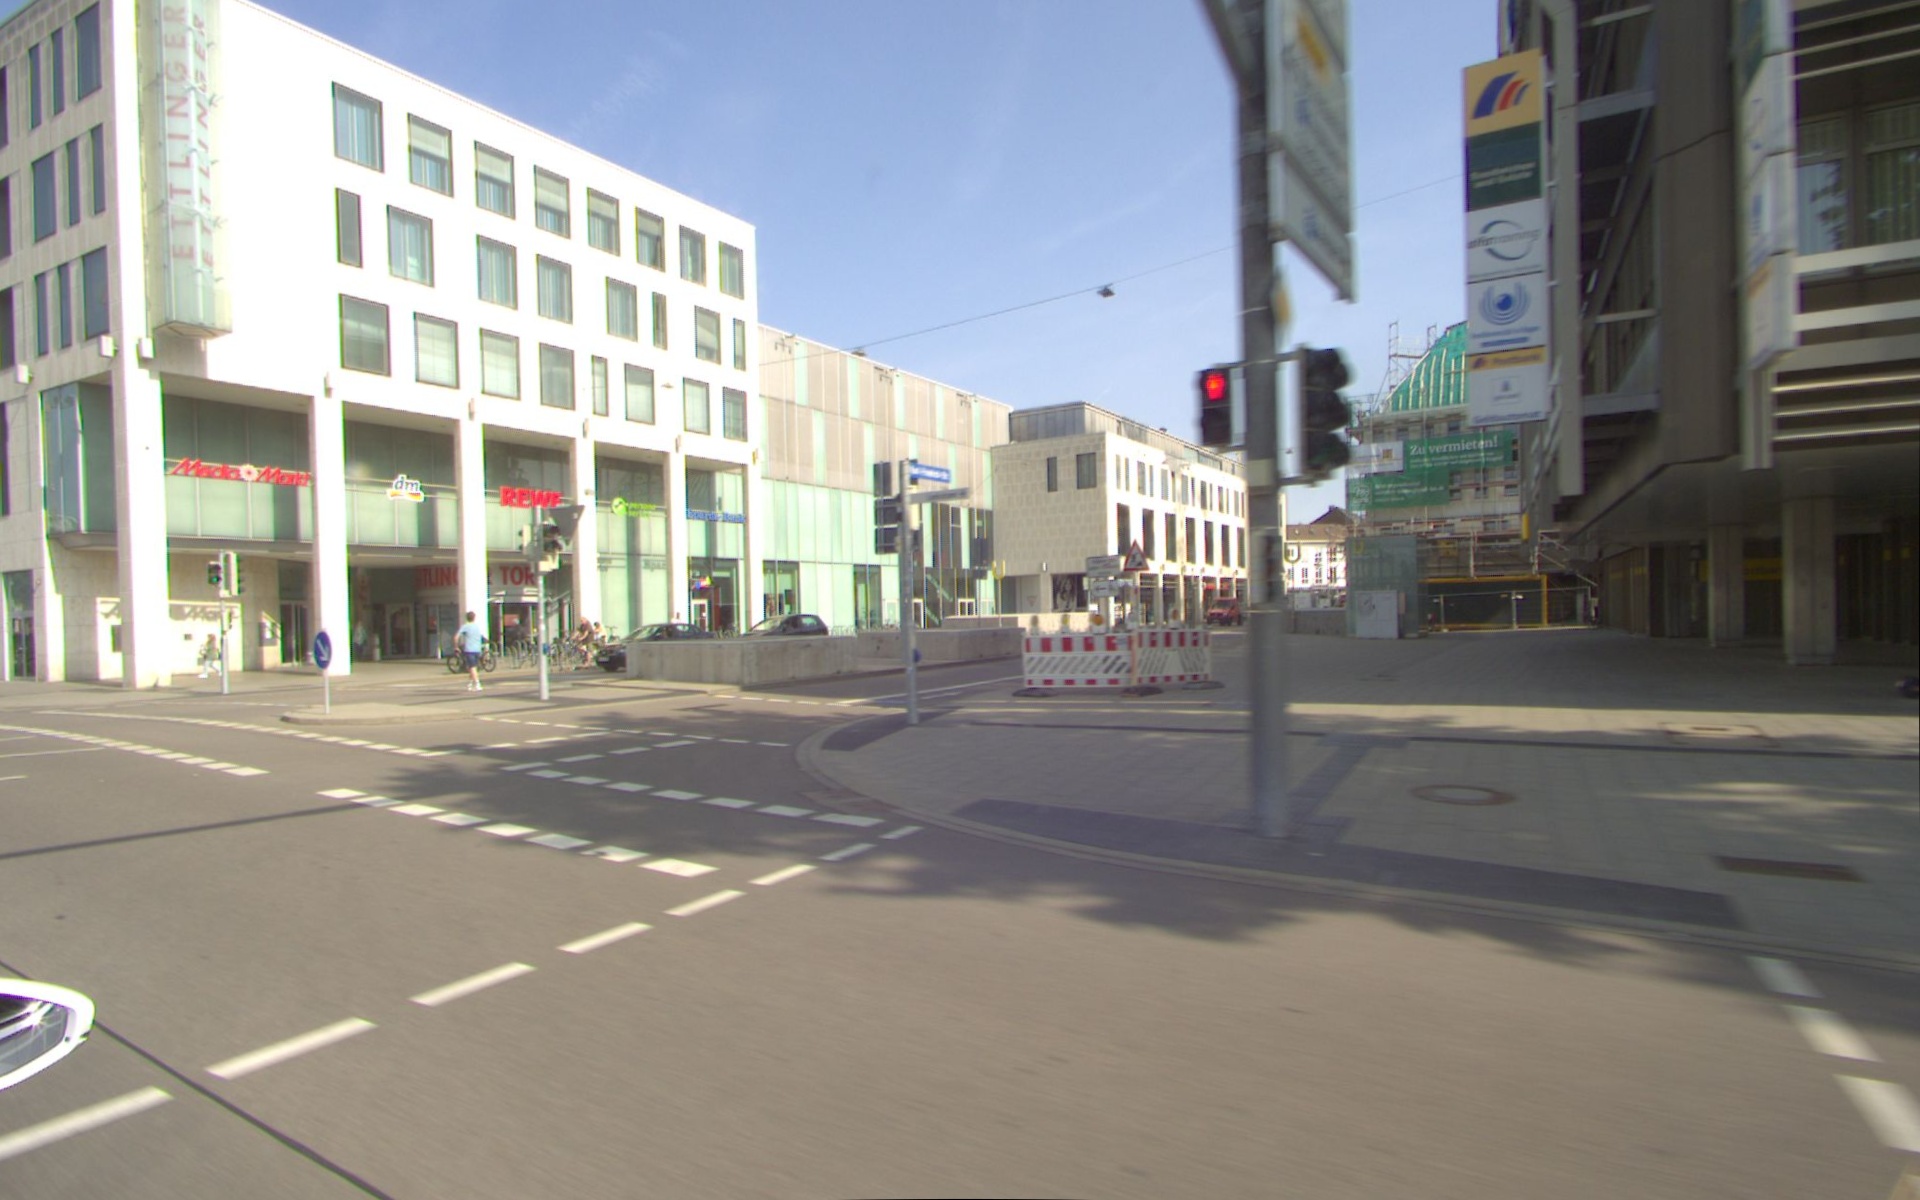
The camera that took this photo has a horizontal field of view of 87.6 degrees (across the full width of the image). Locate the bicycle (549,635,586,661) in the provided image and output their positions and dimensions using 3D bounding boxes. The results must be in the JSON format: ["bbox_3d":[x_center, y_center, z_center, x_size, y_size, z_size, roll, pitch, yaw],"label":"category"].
[{"bbox_3d":[-15.108,1.843,38.499,1.833,0.969,0.457,-2,0,39],"label":"bicycle"}]

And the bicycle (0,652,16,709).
[{"bbox_3d":[-20.324,1.660,20.708,2.021,1.132,0.659,-1,0,32],"label":"bicycle"}]

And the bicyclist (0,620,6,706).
[{"bbox_3d":[-20.290,1.313,20.678,0.758,1.772,0.650,-1,0,31],"label":"bicyclist"}]

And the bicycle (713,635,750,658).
[{"bbox_3d":[-10.086,2.050,44.207,1.690,0.969,0.458,-1,0,28],"label":"bicycle"}]

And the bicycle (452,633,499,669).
[{"bbox_3d":[-16.712,1.748,34.513,1.765,1.215,0.500,-1,0,28],"label":"bicycle"}]

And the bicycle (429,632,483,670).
[{"bbox_3d":[-17.084,1.721,33.935,2.040,1.253,0.612,-1,0,31],"label":"bicycle"}]

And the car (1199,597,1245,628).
[{"bbox_3d":[21.787,1.102,83.227,2.391,2.440,4.986,-2,-3,31],"label":"car"}]

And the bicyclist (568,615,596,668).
[{"bbox_3d":[-12.730,1.381,33.738,0.573,1.761,0.634,-1,0,29],"label":"bicyclist"}]

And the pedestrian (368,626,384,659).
[{"bbox_3d":[-24.682,1.786,42.344,0.449,1.358,0.391,-1,0,29],"label":"pedestrian"}]

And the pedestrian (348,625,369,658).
[{"bbox_3d":[-25.701,1.761,42.780,0.485,1.402,0.564,-1,0,24],"label":"pedestrian"}]

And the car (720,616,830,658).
[{"bbox_3d":[-6.817,1.344,37.294,1.853,1.421,3.892,-2,-1,33],"label":"car"}]

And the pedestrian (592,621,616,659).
[{"bbox_3d":[-14.185,1.595,39.954,0.724,1.505,0.602,-1,0,-1],"label":"pedestrian"}]

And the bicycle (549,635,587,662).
[{"bbox_3d":[-14.719,1.799,37.536,1.833,0.969,0.457,-2,0,39],"label":"bicycle"}]

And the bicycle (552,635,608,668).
[{"bbox_3d":[-12.752,1.703,33.681,0.603,1.030,1.800,-1,0,29],"label":"bicycle"}]

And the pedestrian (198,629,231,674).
[{"bbox_3d":[-25.424,1.742,34.140,0.596,1.507,0.706,-1,0,31],"label":"pedestrian"}]

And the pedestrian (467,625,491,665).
[{"bbox_3d":[-16.839,1.581,35.080,0.538,1.374,0.511,-1,0,22],"label":"pedestrian"}]

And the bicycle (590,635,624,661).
[{"bbox_3d":[-13.737,1.851,38.958,1.649,0.969,0.457,-2,0,38],"label":"bicycle"}]

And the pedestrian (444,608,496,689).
[{"bbox_3d":[-10.783,1.046,22.032,0.977,1.734,0.640,-1,0,37],"label":"pedestrian"}]

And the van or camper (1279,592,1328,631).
[{"bbox_3d":[22.803,0.760,66.370,1.971,2.441,5.117,-1,0,32],"label":"van or camper"}]

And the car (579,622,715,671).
[{"bbox_3d":[-9.951,1.455,32.077,1.851,1.384,3.884,-2,-1,33],"label":"car"}]
